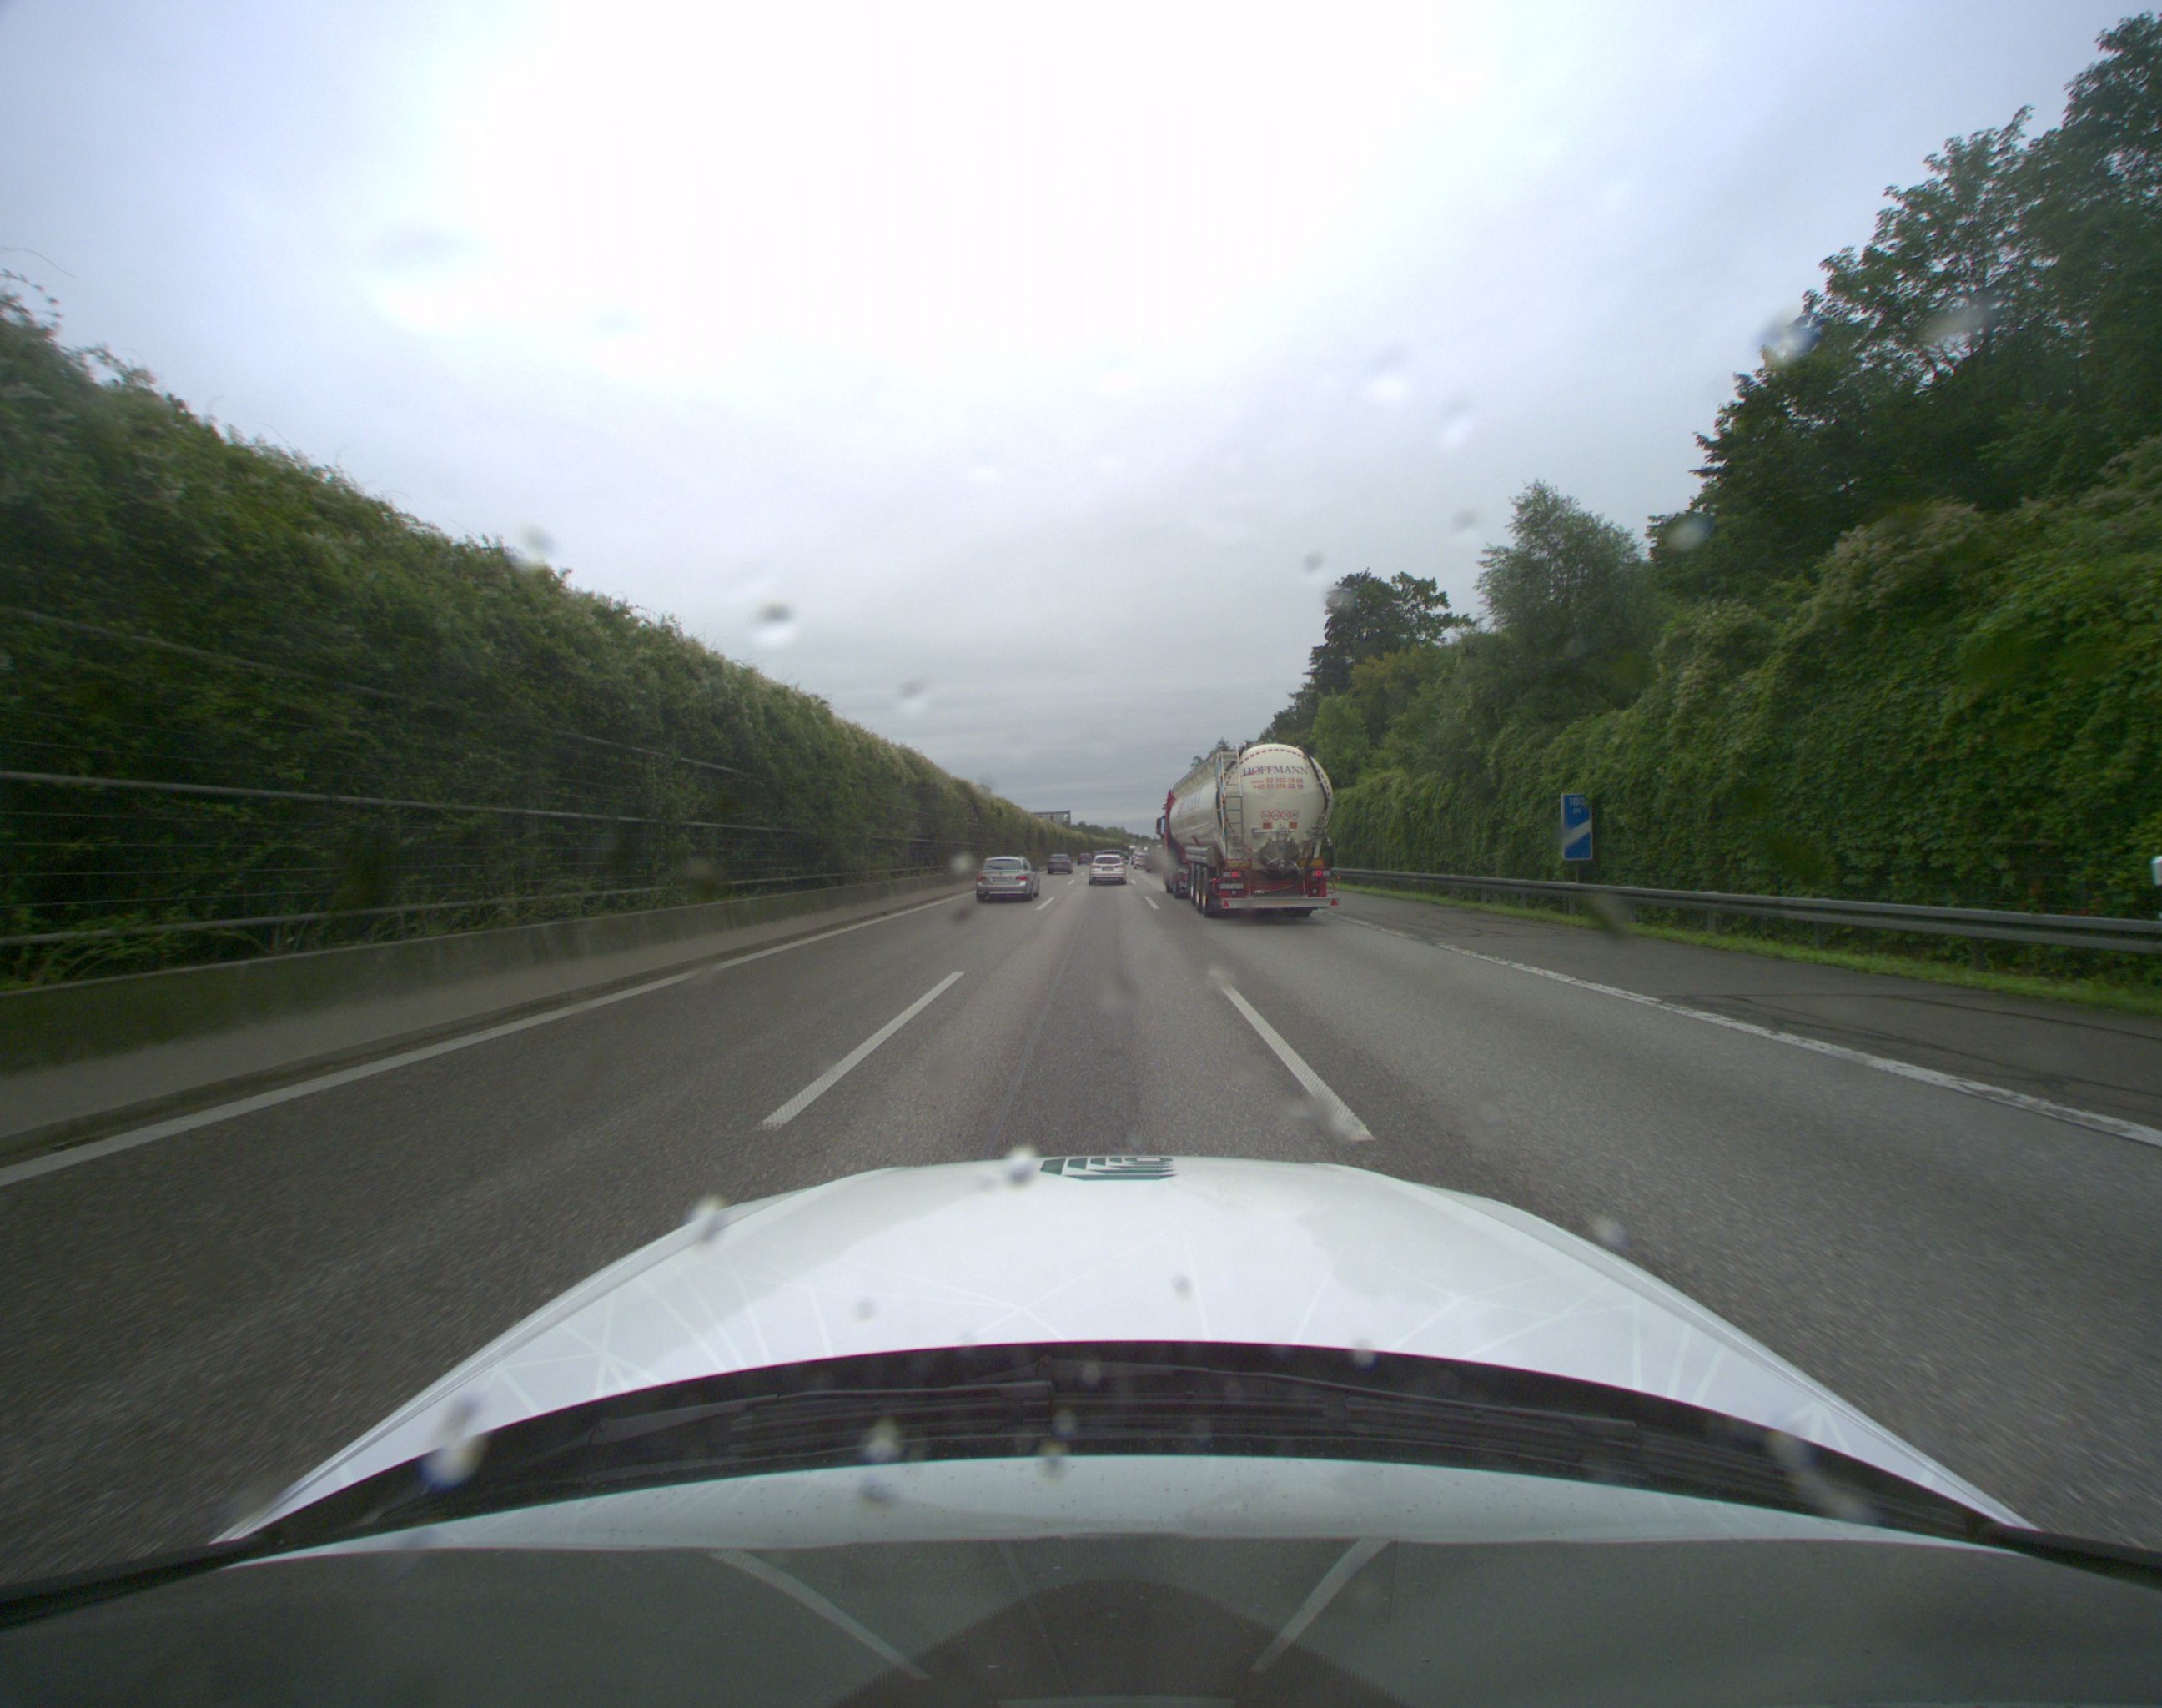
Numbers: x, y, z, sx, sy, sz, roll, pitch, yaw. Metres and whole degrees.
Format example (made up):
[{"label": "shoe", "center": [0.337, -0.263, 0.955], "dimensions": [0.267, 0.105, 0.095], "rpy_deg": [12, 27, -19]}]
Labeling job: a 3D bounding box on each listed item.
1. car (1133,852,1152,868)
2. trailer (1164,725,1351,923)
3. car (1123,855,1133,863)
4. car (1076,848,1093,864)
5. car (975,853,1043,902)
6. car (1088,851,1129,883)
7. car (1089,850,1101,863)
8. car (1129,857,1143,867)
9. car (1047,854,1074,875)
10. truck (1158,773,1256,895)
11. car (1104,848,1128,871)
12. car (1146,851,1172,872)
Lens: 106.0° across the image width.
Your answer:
[{"label": "car", "center": [6.043, 0.558, 79.971], "dimensions": [1.682, 1.506, 3.872], "rpy_deg": [0, 0, 2]}, {"label": "trailer", "center": [4.197, -0.562, 22.865], "dimensions": [2.658, 3.939, 13.133], "rpy_deg": [0, 0, 1]}, {"label": "car", "center": [8.996, 0.975, 155.904], "dimensions": [1.682, 1.539, 3.873], "rpy_deg": [-1, 0, 2]}, {"label": "car", "center": [0.453, 0.229, 104.643], "dimensions": [1.986, 2.013, 3.843], "rpy_deg": [-1, 0, 2]}, {"label": "car", "center": [-2.372, 0.742, 28.105], "dimensions": [1.713, 1.469, 5.032], "rpy_deg": [0, 1, 2]}, {"label": "car", "center": [1.376, 0.625, 40.883], "dimensions": [1.885, 1.504, 5.032], "rpy_deg": [-1, 0, 2]}, {"label": "car", "center": [2.334, 0.431, 135.392], "dimensions": [1.986, 2.013, 4.002], "rpy_deg": [-1, 0, 2]}, {"label": "car", "center": [7.083, 1.036, 105.435], "dimensions": [1.682, 1.331, 3.873], "rpy_deg": [0, 0, 2]}, {"label": "car", "center": [-1.515, 0.775, 61.729], "dimensions": [1.713, 1.512, 5.032], "rpy_deg": [-1, 0, 2]}, {"label": "truck", "center": [4.384, -0.615, 29.550], "dimensions": [2.685, 3.912, 6.558], "rpy_deg": [0, 0, 1]}, {"label": "car", "center": [2.601, 0.369, 60.224], "dimensions": [1.682, 1.506, 3.874], "rpy_deg": [3, 2, 2]}, {"label": "car", "center": [6.123, 0.562, 64.394], "dimensions": [1.809, 1.625, 5.033], "rpy_deg": [-1, 0, 3]}]
